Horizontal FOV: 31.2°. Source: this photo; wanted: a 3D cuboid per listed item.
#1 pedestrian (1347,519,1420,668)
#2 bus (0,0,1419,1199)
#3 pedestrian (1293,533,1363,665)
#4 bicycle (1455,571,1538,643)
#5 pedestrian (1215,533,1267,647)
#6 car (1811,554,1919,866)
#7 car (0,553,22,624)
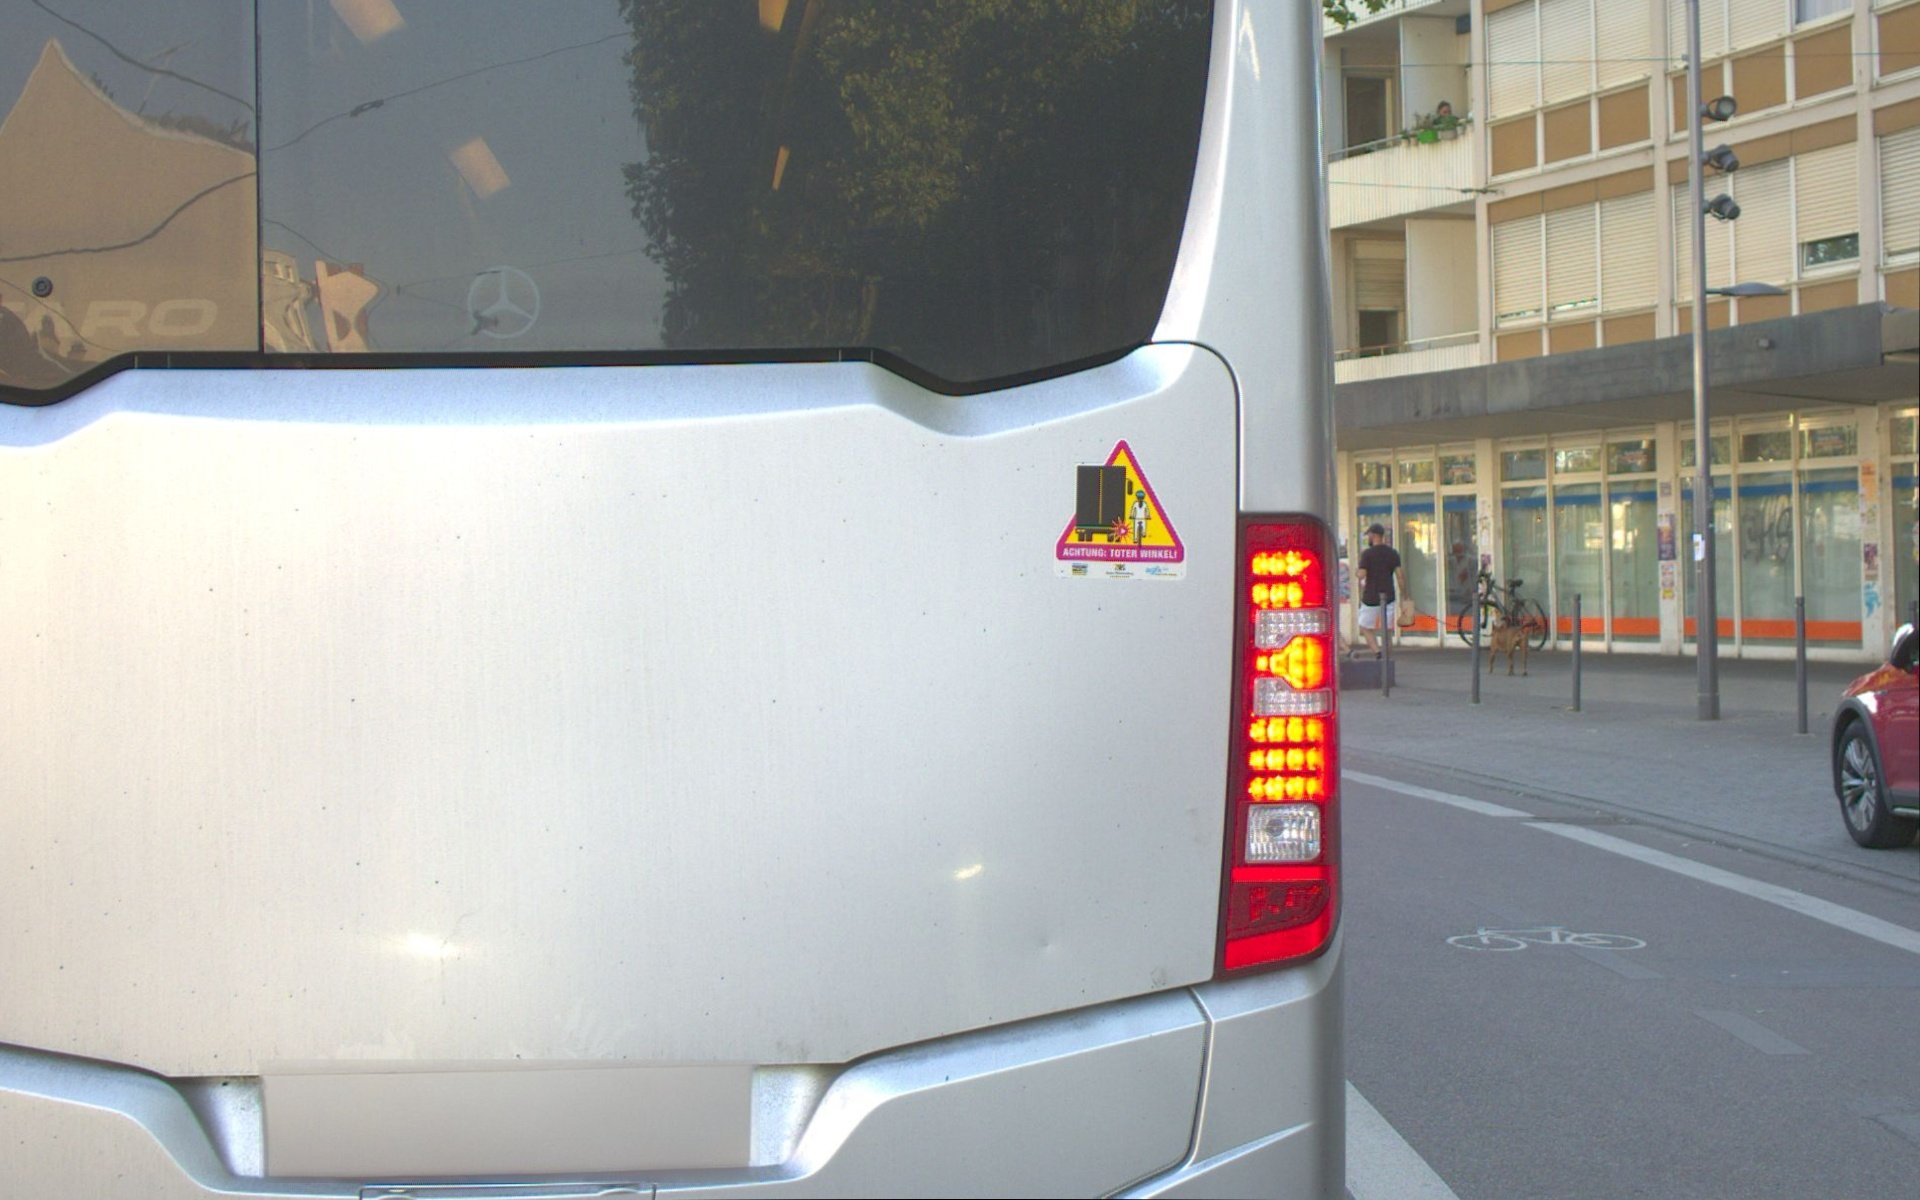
[{"bbox_3d":[4.908,-0.077,39.869,0.645,1.711,0.560,-1,1,-16],"label":"pedestrian"},{"bbox_3d":[-0.740,-0.121,9.811,2.630,3.017,9.998,0,1,-1],"label":"bus"},{"bbox_3d":[4.468,-0.017,41.746,0.645,1.576,0.560,-1,1,-16],"label":"pedestrian"},{"bbox_3d":[7.114,0.088,45.645,0.412,0.941,1.441,-1,1,-20],"label":"bicycle"},{"bbox_3d":[4.104,-0.142,50.181,0.535,1.643,0.616,-1,1,-17],"label":"pedestrian"},{"bbox_3d":[5.512,0.510,15.867,1.769,1.477,4.304,-2,1,-4],"label":"car"},{"bbox_3d":[-25.898,-0.313,88.233,1.994,1.785,3.998,1,0,-41],"label":"car"}]
